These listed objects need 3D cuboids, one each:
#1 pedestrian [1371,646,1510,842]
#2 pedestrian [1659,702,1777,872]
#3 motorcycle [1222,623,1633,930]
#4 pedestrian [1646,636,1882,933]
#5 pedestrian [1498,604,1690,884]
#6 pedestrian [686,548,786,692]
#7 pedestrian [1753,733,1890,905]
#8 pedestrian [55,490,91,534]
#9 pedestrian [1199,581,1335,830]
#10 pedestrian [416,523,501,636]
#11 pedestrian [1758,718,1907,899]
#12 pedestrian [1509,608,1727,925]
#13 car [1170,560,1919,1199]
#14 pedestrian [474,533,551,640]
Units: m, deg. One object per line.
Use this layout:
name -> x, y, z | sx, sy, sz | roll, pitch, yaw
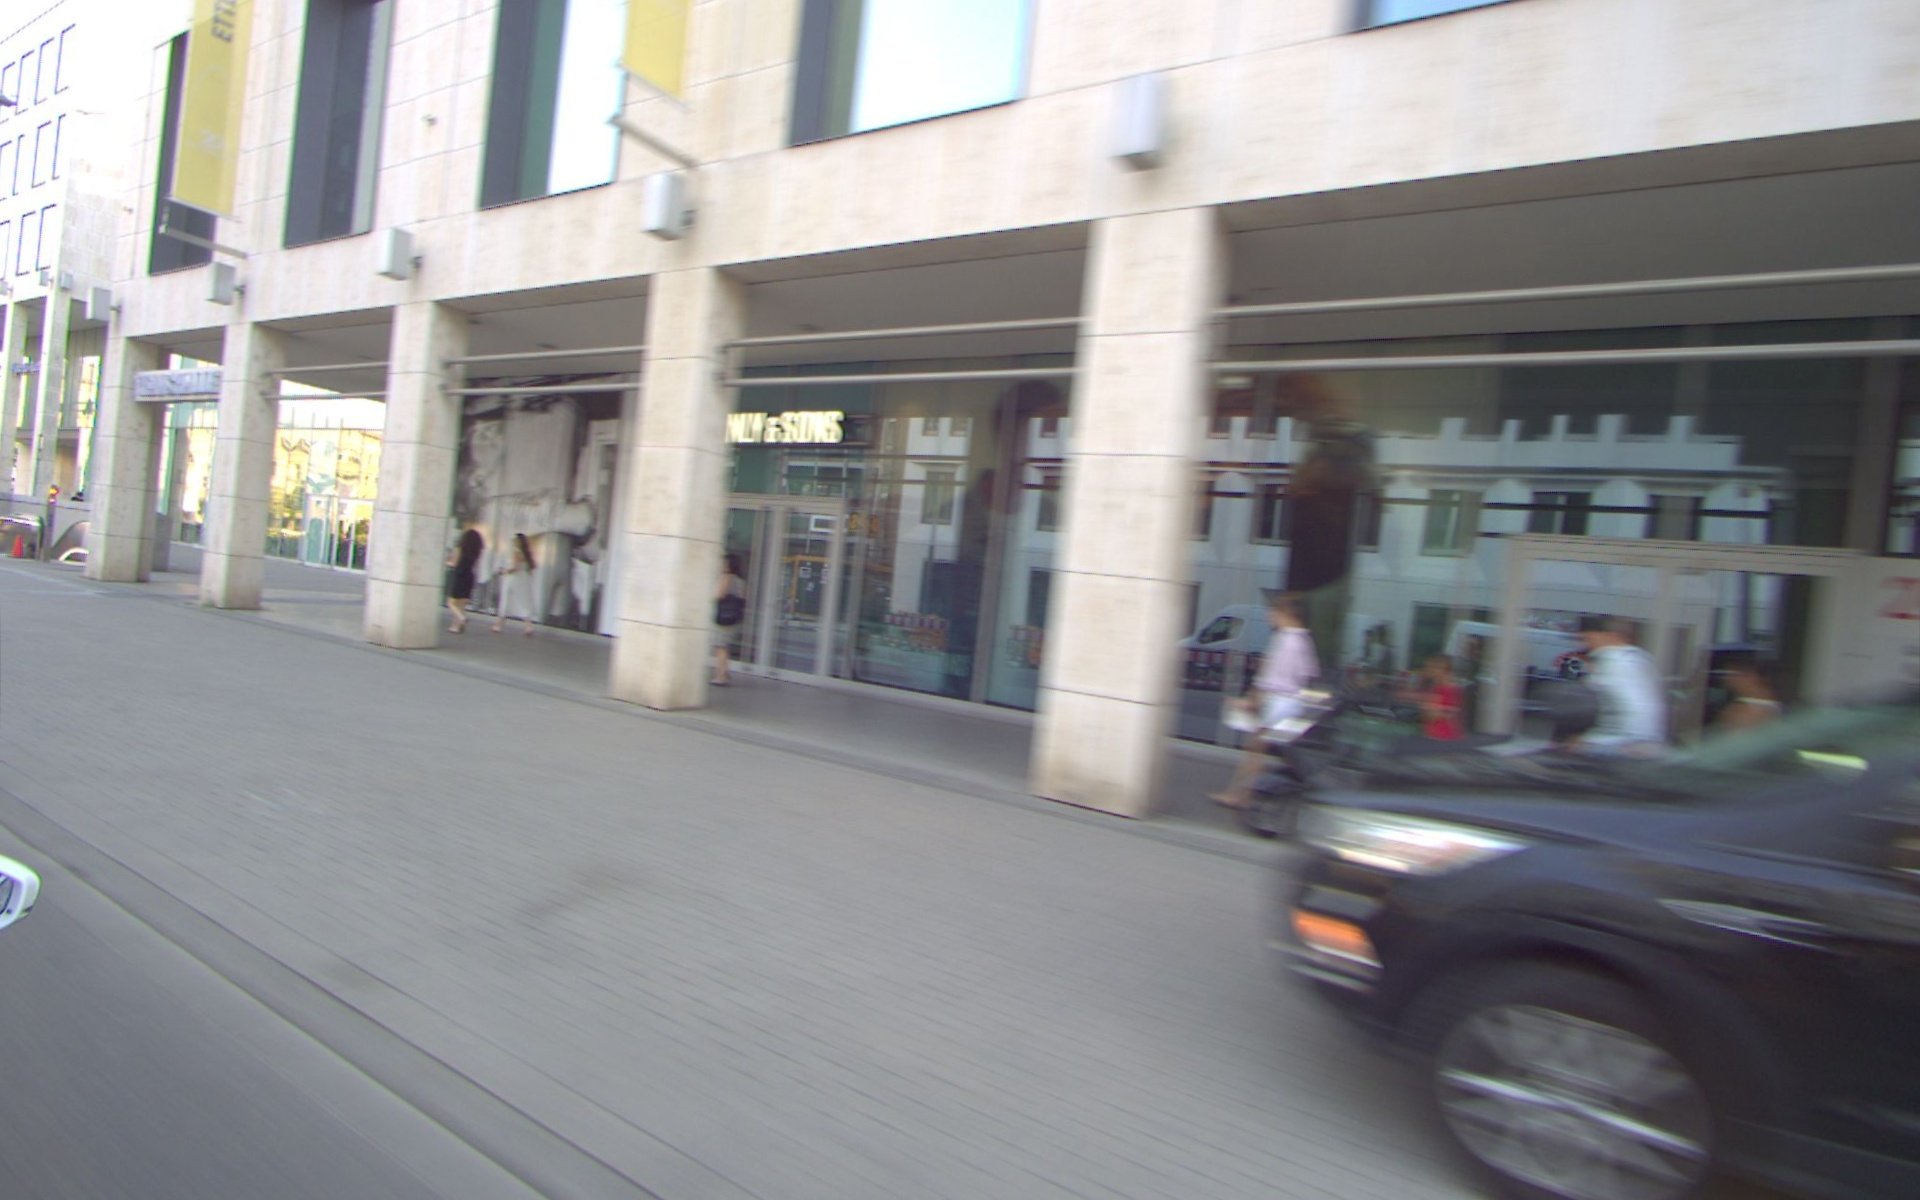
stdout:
pedestrian -> 3.806, 1.107, 7.958 | 0.762, 1.363, 0.634 | 9, 2, 32
pedestrian -> 5.557, 1.350, 7.402 | 0.517, 1.111, 0.420 | 9, 2, 32
motorcycle -> 2.844, 0.987, 6.266 | 2.102, 1.434, 0.693 | 7, 1, 35
pedestrian -> 4.944, 1.086, 6.271 | 0.862, 1.588, 0.765 | 9, 2, 32
pedestrian -> 4.363, 0.952, 6.980 | 0.862, 1.703, 0.765 | 9, 2, 32
pedestrian -> -2.662, 0.241, 11.986 | 0.762, 1.588, 0.634 | 9, 2, 32
pedestrian -> 5.769, 1.447, 6.764 | 0.517, 0.998, 0.420 | 9, 2, 32
pedestrian -> -38.563, -3.820, 43.719 | 0.974, 1.800, 0.861 | 7, 2, 32
pedestrian -> 2.313, 0.766, 7.563 | 0.684, 1.720, 0.591 | 7, 1, 30
pedestrian -> -7.410, -0.299, 14.864 | 0.717, 1.561, 0.725 | 7, 0, 32
pedestrian -> 6.163, 1.449, 7.141 | 0.592, 1.111, 0.487 | 9, 2, 32
pedestrian -> 4.038, 0.973, 6.240 | 0.862, 1.703, 0.765 | 9, 2, 32
car -> 2.865, 0.897, 2.791 | 3.991, 1.660, 1.767 | 6, 3, 33
pedestrian -> -6.981, -0.204, 15.707 | 0.762, 1.561, 0.634 | 7, 0, 32
